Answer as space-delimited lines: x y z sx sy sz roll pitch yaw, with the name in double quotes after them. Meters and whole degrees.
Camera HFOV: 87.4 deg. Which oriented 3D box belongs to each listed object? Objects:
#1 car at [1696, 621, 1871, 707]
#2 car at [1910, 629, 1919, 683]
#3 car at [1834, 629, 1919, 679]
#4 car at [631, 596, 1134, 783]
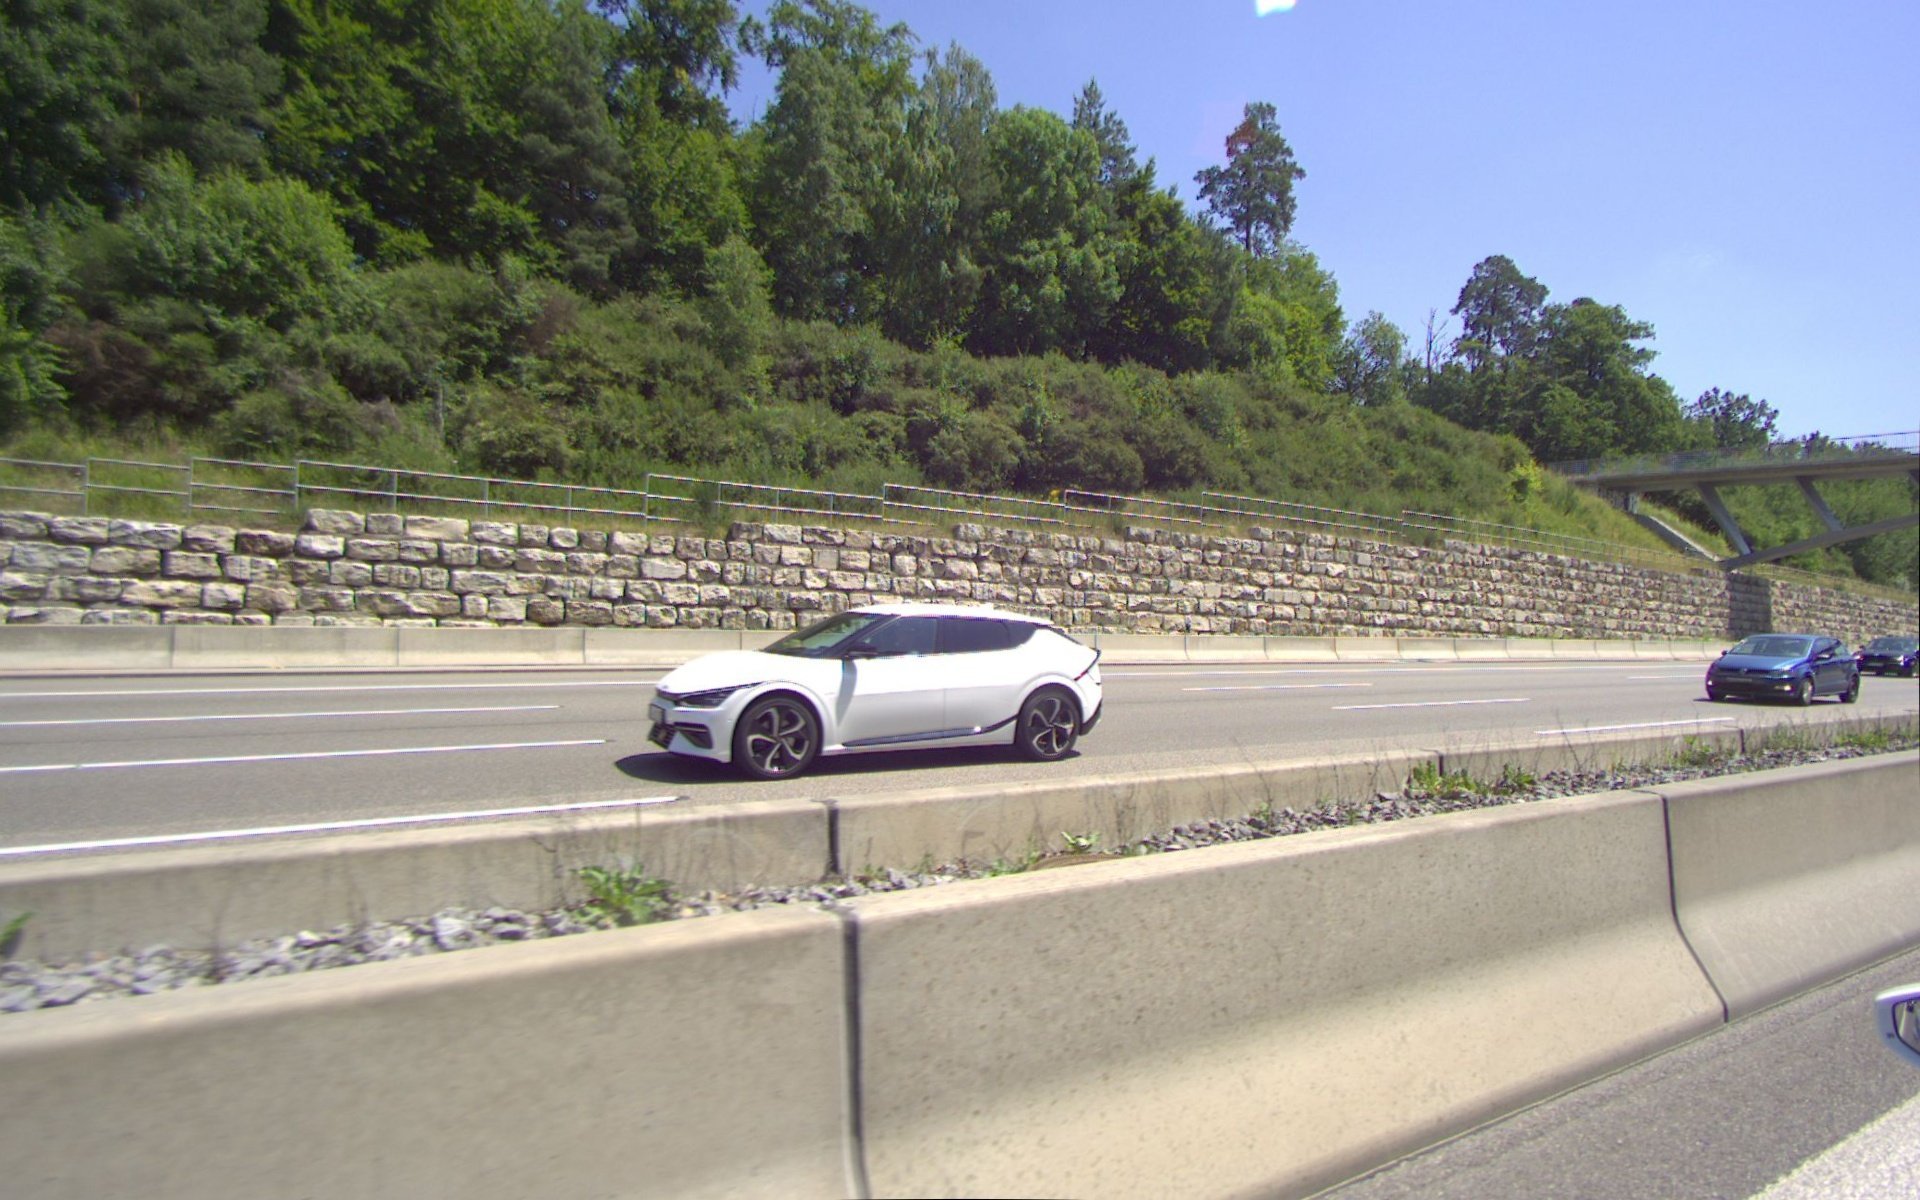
17.453 1.287 21.242 3.955 1.571 1.644 0 2 -32 "car"
31.004 1.740 30.610 3.953 1.639 1.984 2 -1 -30 "car"
33.403 1.920 36.013 3.953 1.639 1.984 2 -1 -30 "car"
-0.685 0.784 10.196 4.749 1.516 1.891 2 -1 -30 "car"
